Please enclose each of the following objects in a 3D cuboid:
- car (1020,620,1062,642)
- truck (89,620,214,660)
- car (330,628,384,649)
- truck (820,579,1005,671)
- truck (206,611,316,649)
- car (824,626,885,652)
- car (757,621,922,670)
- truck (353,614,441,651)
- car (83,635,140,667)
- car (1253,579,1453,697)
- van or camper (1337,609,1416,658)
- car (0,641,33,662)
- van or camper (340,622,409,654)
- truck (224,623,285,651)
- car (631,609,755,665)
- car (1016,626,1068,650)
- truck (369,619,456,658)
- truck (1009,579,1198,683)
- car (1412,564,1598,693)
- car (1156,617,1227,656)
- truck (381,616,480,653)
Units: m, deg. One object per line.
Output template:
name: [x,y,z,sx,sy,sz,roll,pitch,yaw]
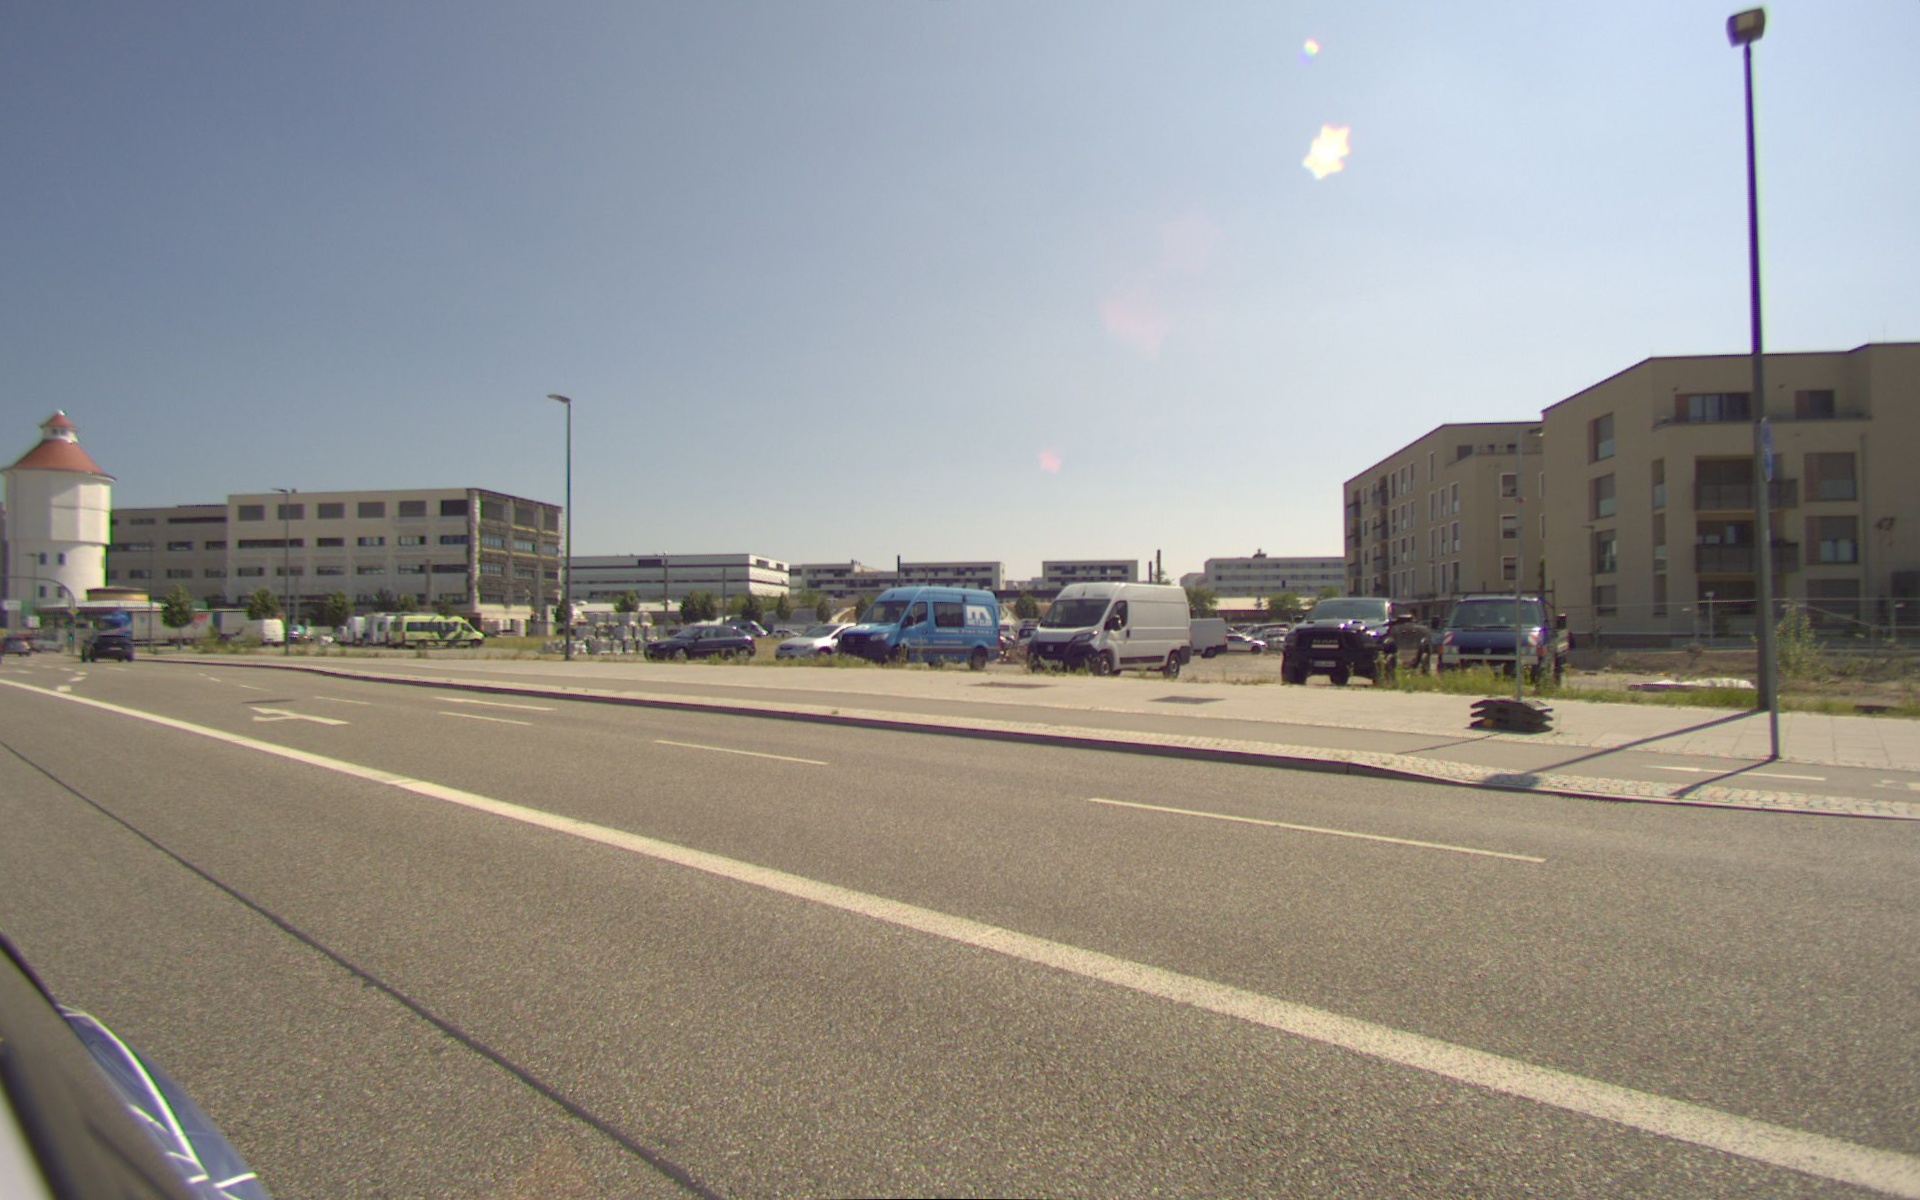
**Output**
car: [7.806,3.027,97.689,3.952,2.029,1.996,-1,-2,7]
truck: [-91.200,4.395,114.489,3.281,4.098,10.895,-1,0,23]
car: [-54.581,3.497,91.619,1.654,1.772,3.830,-2,-2,37]
truck: [-1.339,0.800,31.178,2.273,2.563,5.942,-2,-3,40]
truck: [-85.984,3.576,124.808,3.331,4.307,10.840,-1,0,29]
car: [-8.461,3.112,81.454,4.601,2.029,1.994,-1,-2,9]
car: [-3.859,1.451,33.471,2.104,1.485,5.595,-2,-2,38]
truck: [-48.408,2.734,87.075,2.570,2.923,6.080,-1,1,42]
car: [-45.819,2.725,54.631,4.388,1.640,1.881,-2,-3,44]
car: [8.613,0.786,21.795,2.392,2.182,5.825,-2,-2,38]
van or camper: [23.162,1.868,56.511,1.909,2.578,5.928,0,-2,0]
car: [-72.302,3.897,77.127,4.384,1.507,1.883,-2,-2,40]
van or camper: [-51.813,3.347,89.611,2.258,2.682,4.849,-3,-2,41]
truck: [-67.189,3.519,96.332,5.914,2.675,2.154,-1,-2,26]
car: [-9.648,1.356,36.708,3.938,1.918,1.830,2,-3,-42]
car: [6.532,2.996,79.953,3.955,1.896,1.994,-1,-2,10]
truck: [-44.988,3.103,83.236,2.568,2.846,5.776,-1,0,40]
truck: [3.803,0.814,25.996,2.273,2.381,5.511,-2,-3,39]
car: [10.945,0.596,20.081,2.392,2.190,5.391,-2,-3,37]
car: [14.164,2.221,62.048,3.951,2.258,1.996,-2,-1,6]
truck: [-42.647,2.741,81.698,2.599,2.847,6.572,-2,-1,38]
